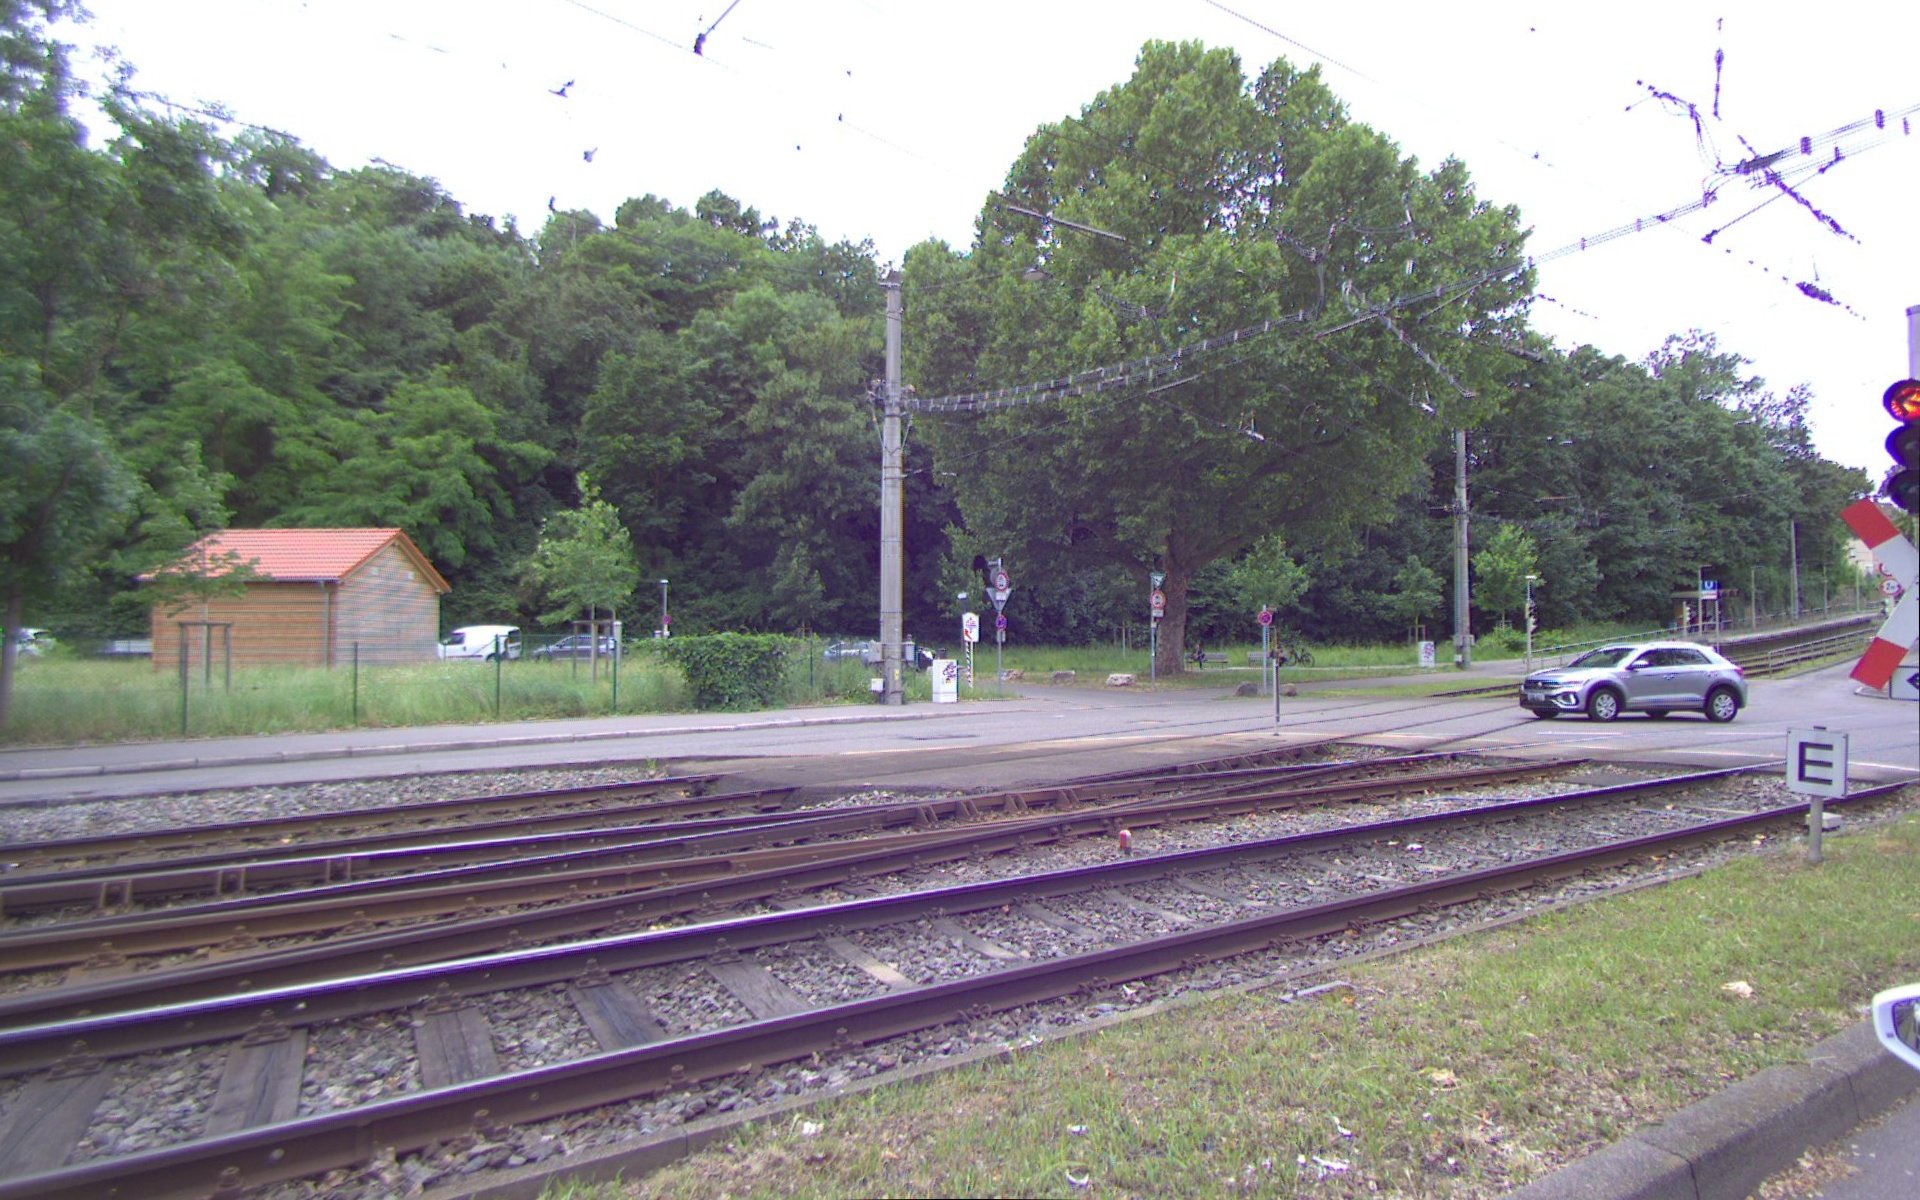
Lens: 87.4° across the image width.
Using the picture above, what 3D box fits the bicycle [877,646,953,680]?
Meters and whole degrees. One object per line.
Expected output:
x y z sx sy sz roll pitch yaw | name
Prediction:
-1.990 2.786 44.670 3.295 1.307 0.732 -2 2 -20 | bicycle

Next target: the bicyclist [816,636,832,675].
-6.087 2.473 44.940 0.614 1.697 0.473 -1 2 -19 | bicyclist

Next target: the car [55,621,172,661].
-37.594 1.819 44.687 3.610 1.634 1.757 2 0 -3 | car

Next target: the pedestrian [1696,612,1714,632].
50.039 1.473 67.449 0.780 1.344 0.766 2 0 -38 | pedestrian

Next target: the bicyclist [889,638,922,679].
-2.432 2.582 44.507 1.273 1.734 0.732 -2 2 -20 | bicyclist

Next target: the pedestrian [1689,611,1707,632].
49.014 1.439 66.736 0.780 1.344 0.766 -1 2 -37 | pedestrian

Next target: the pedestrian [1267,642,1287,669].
15.417 2.698 48.842 0.662 1.251 0.578 2 0 -16 | pedestrian

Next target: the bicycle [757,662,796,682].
-7.966 3.128 43.563 1.625 0.749 0.453 -1 2 -15 | bicycle

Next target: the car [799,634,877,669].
-5.654 2.385 46.853 3.436 1.443 1.700 2 0 -3 | car

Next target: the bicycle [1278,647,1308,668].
16.363 2.819 49.405 0.611 0.897 1.743 2 0 -10 | bicycle

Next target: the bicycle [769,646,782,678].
-8.009 2.673 43.542 0.507 1.348 0.453 -1 2 -15 | bicycle

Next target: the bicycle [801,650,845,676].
-6.129 2.797 44.929 1.914 1.055 0.473 -1 2 -19 | bicycle

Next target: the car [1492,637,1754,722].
13.378 1.576 20.433 4.099 1.599 1.999 0 -2 -6 | car

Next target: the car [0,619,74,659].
-41.787 1.690 44.365 3.612 1.634 1.756 2 0 -6 | car

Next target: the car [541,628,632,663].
-16.861 2.039 45.472 3.436 1.443 1.700 2 0 -3 | car

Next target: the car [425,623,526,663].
-21.907 1.938 45.529 3.610 1.634 1.909 2 0 -3 | car

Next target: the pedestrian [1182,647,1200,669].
11.127 2.780 48.372 0.610 1.003 0.530 2 0 -15 | pedestrian
